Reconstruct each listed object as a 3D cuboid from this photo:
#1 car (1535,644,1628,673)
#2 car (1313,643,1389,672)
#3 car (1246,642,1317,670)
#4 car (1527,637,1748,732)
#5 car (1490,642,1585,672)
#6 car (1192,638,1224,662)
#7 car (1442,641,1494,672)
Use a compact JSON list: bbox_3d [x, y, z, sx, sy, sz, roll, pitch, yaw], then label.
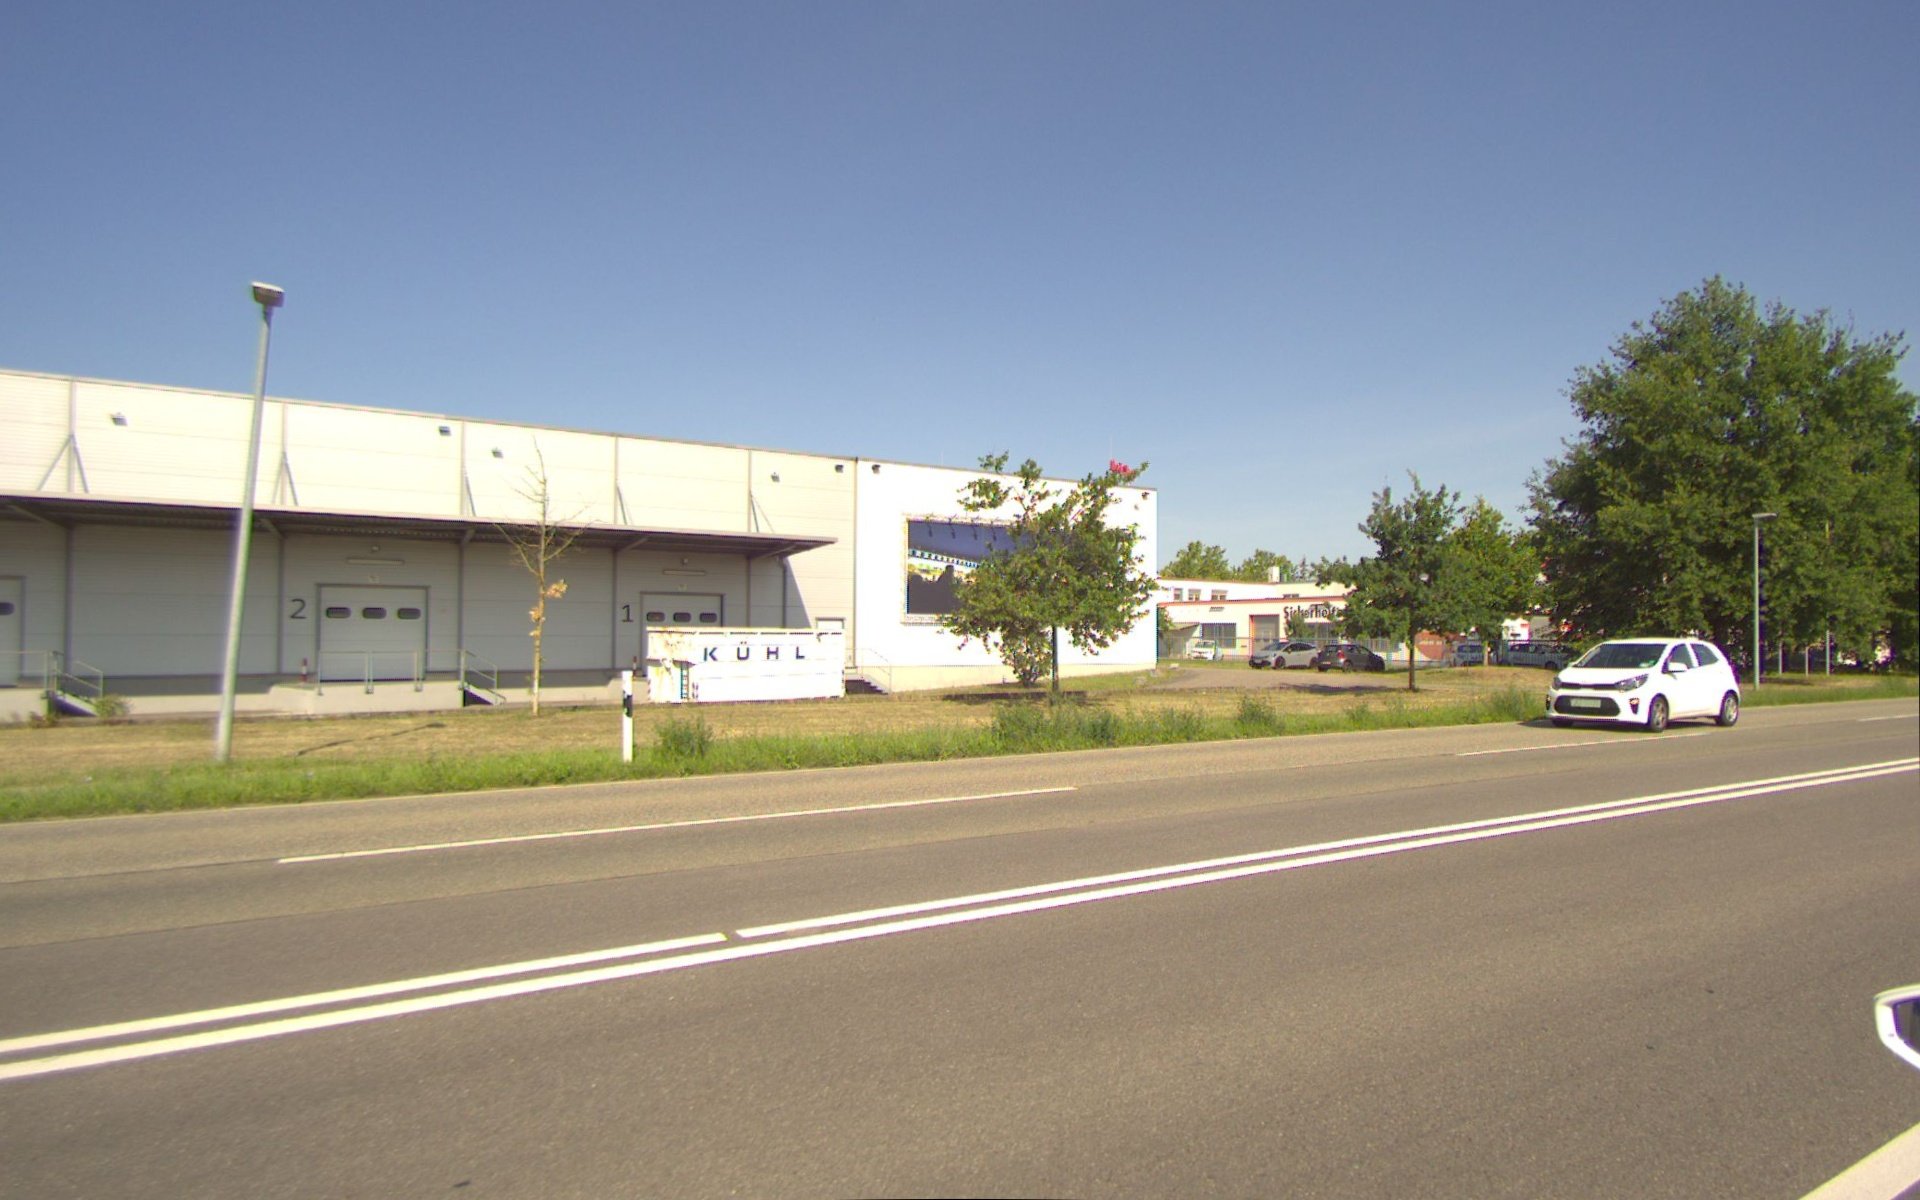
[{"bbox_3d":[33.597,3.144,54.422,1.737,1.520,3.969,1,-2,-30],"label":"car"},{"bbox_3d":[19.474,2.850,50.015,3.680,1.408,1.628,2,-2,-31],"label":"car"},{"bbox_3d":[17.298,2.982,53.958,3.680,1.429,1.628,2,-2,-31],"label":"car"},{"bbox_3d":[11.491,1.379,16.998,3.692,1.456,1.651,2,-4,-31],"label":"car"},{"bbox_3d":[30.074,2.948,52.441,1.737,1.520,3.969,1,-2,-30],"label":"car"},{"bbox_3d":[17.113,3.432,69.268,1.441,1.579,3.381,-1,-2,27],"label":"car"},{"bbox_3d":[26.472,2.909,52.440,1.705,1.520,4.002,0,-2,17],"label":"car"}]
